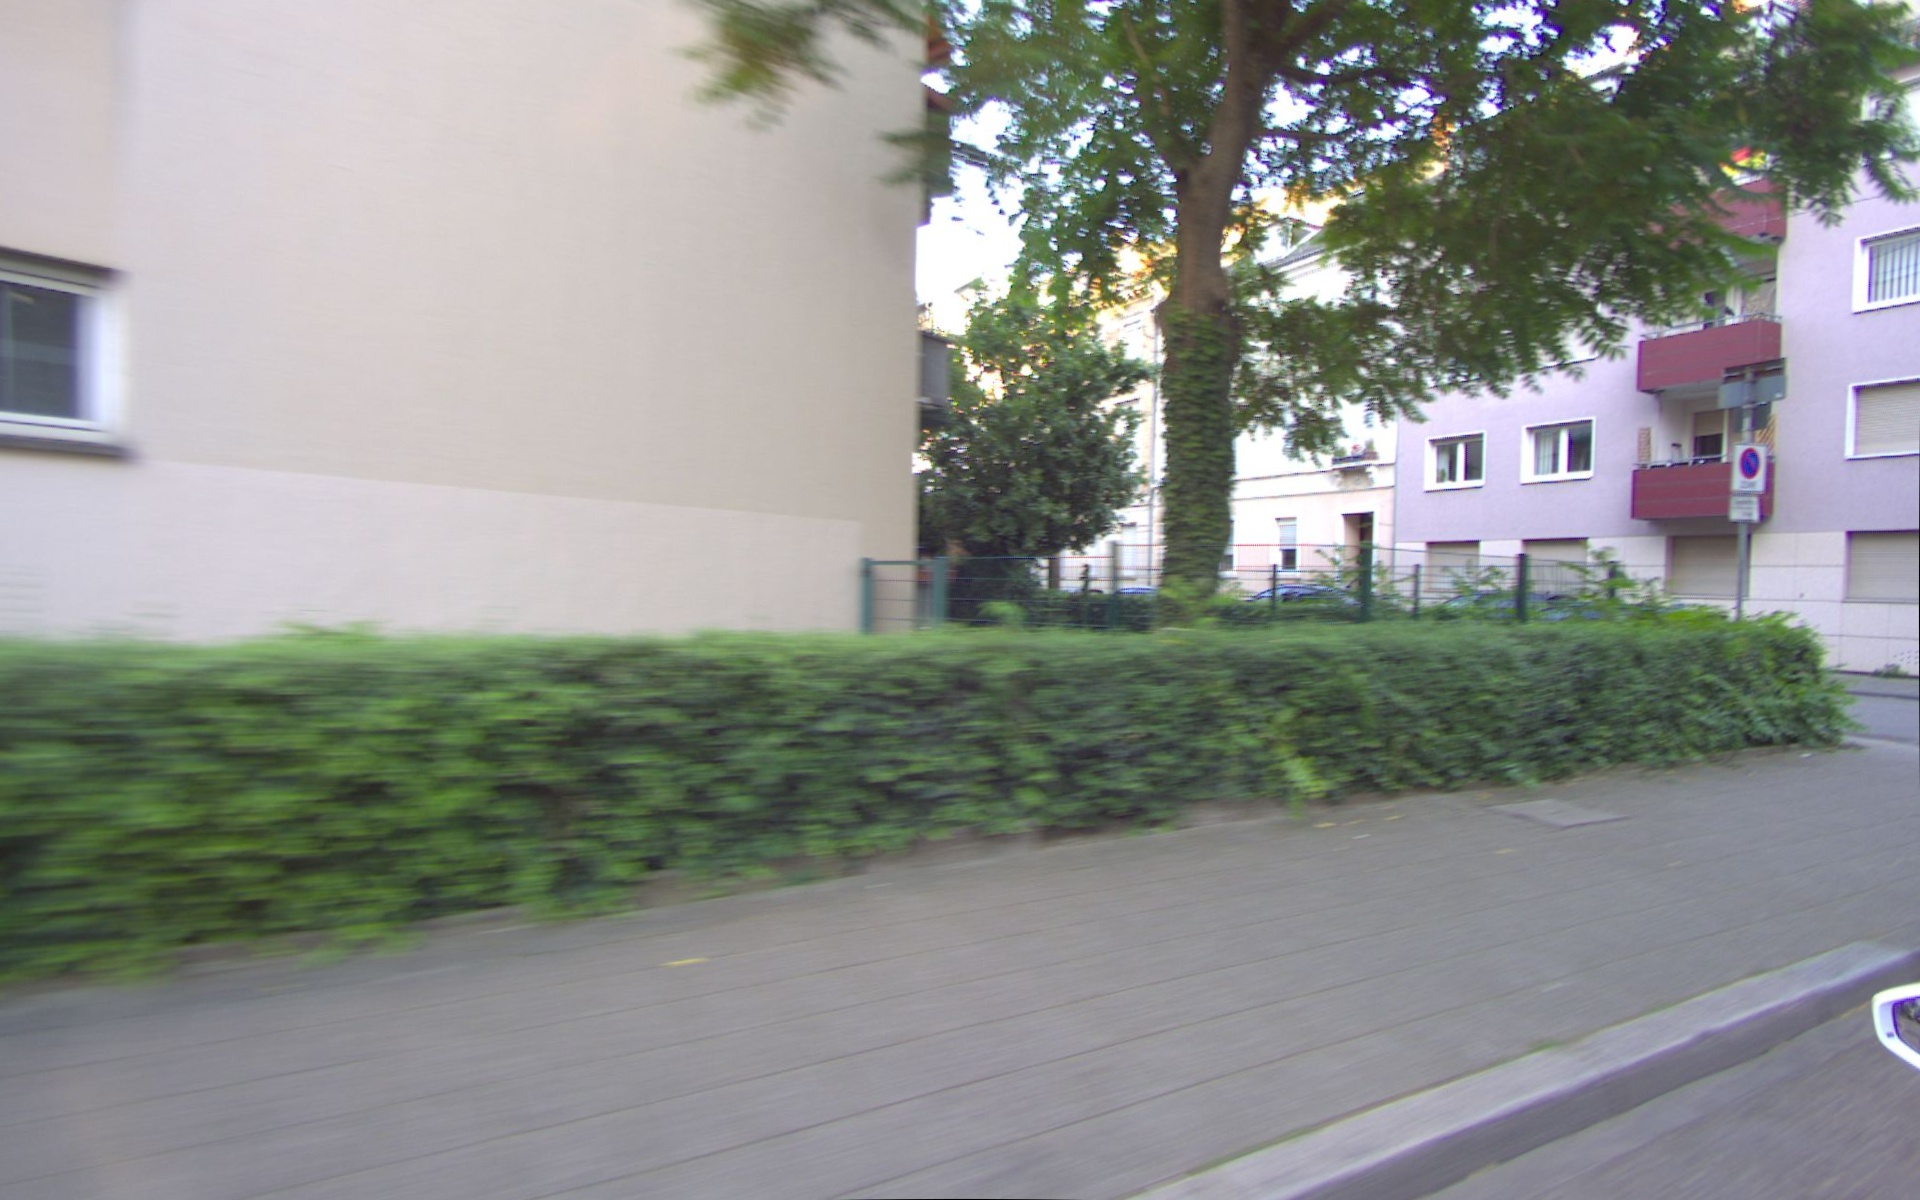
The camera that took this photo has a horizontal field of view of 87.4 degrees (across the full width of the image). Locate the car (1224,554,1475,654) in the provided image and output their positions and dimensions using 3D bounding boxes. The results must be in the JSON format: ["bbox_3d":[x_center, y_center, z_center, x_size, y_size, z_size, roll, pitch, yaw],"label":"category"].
[{"bbox_3d":[7.200,-0.002,19.059,1.804,1.662,4.354,-1,2,-27],"label":"car"}]

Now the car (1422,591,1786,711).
[{"bbox_3d":[9.400,0.639,15.076,1.666,1.477,4.324,0,1,-30],"label":"car"}]
